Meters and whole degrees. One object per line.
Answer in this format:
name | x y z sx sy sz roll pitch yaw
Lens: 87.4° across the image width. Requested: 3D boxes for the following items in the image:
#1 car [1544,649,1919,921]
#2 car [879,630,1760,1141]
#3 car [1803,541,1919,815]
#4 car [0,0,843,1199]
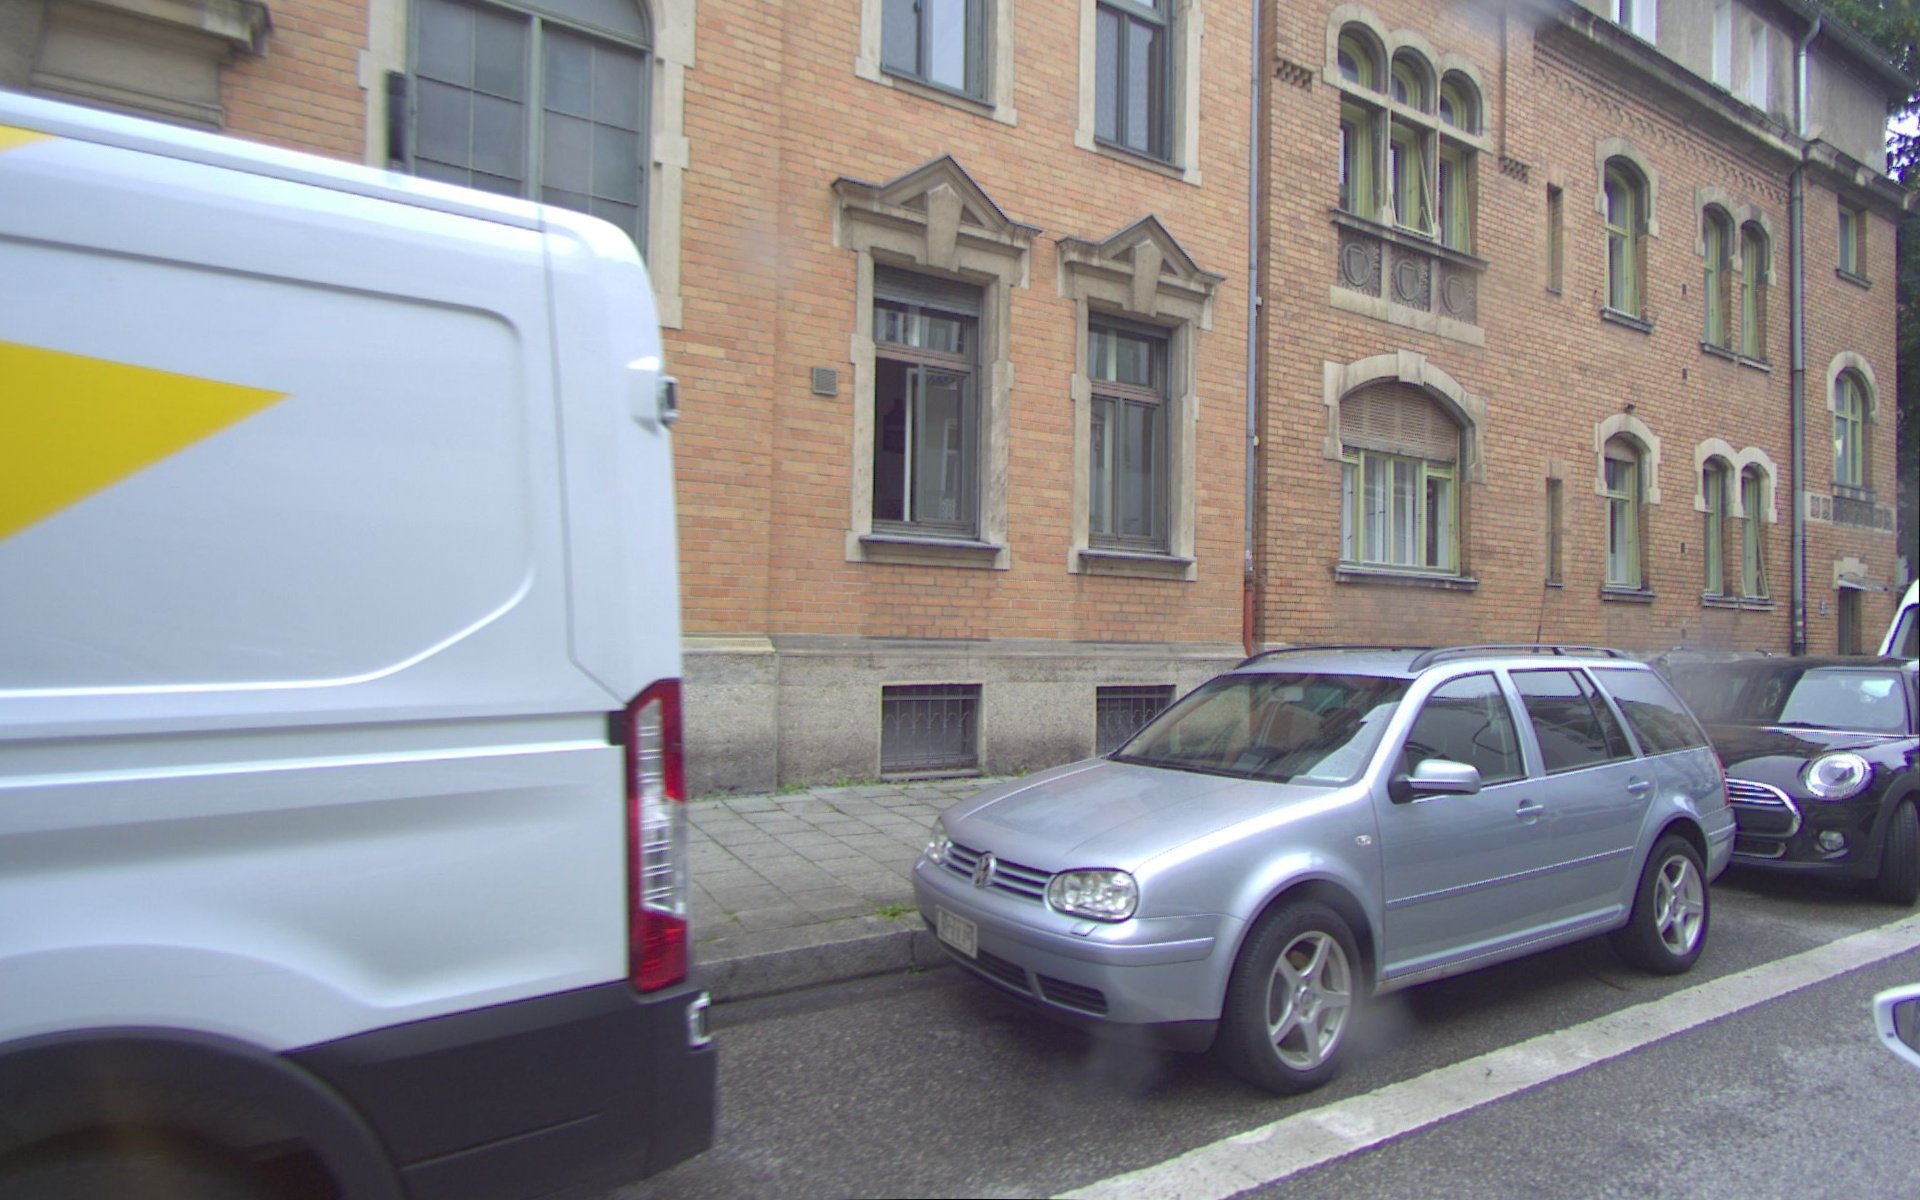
car | 6.075 1.105 7.095 3.784 1.450 1.691 2 -3 -29
car | 1.765 0.940 4.661 3.949 1.473 1.682 2 -4 -30
car | 10.739 0.772 9.825 5.306 2.380 2.127 3 -2 -30
car | -3.091 0.258 1.698 5.406 2.500 1.984 3 -4 -30
